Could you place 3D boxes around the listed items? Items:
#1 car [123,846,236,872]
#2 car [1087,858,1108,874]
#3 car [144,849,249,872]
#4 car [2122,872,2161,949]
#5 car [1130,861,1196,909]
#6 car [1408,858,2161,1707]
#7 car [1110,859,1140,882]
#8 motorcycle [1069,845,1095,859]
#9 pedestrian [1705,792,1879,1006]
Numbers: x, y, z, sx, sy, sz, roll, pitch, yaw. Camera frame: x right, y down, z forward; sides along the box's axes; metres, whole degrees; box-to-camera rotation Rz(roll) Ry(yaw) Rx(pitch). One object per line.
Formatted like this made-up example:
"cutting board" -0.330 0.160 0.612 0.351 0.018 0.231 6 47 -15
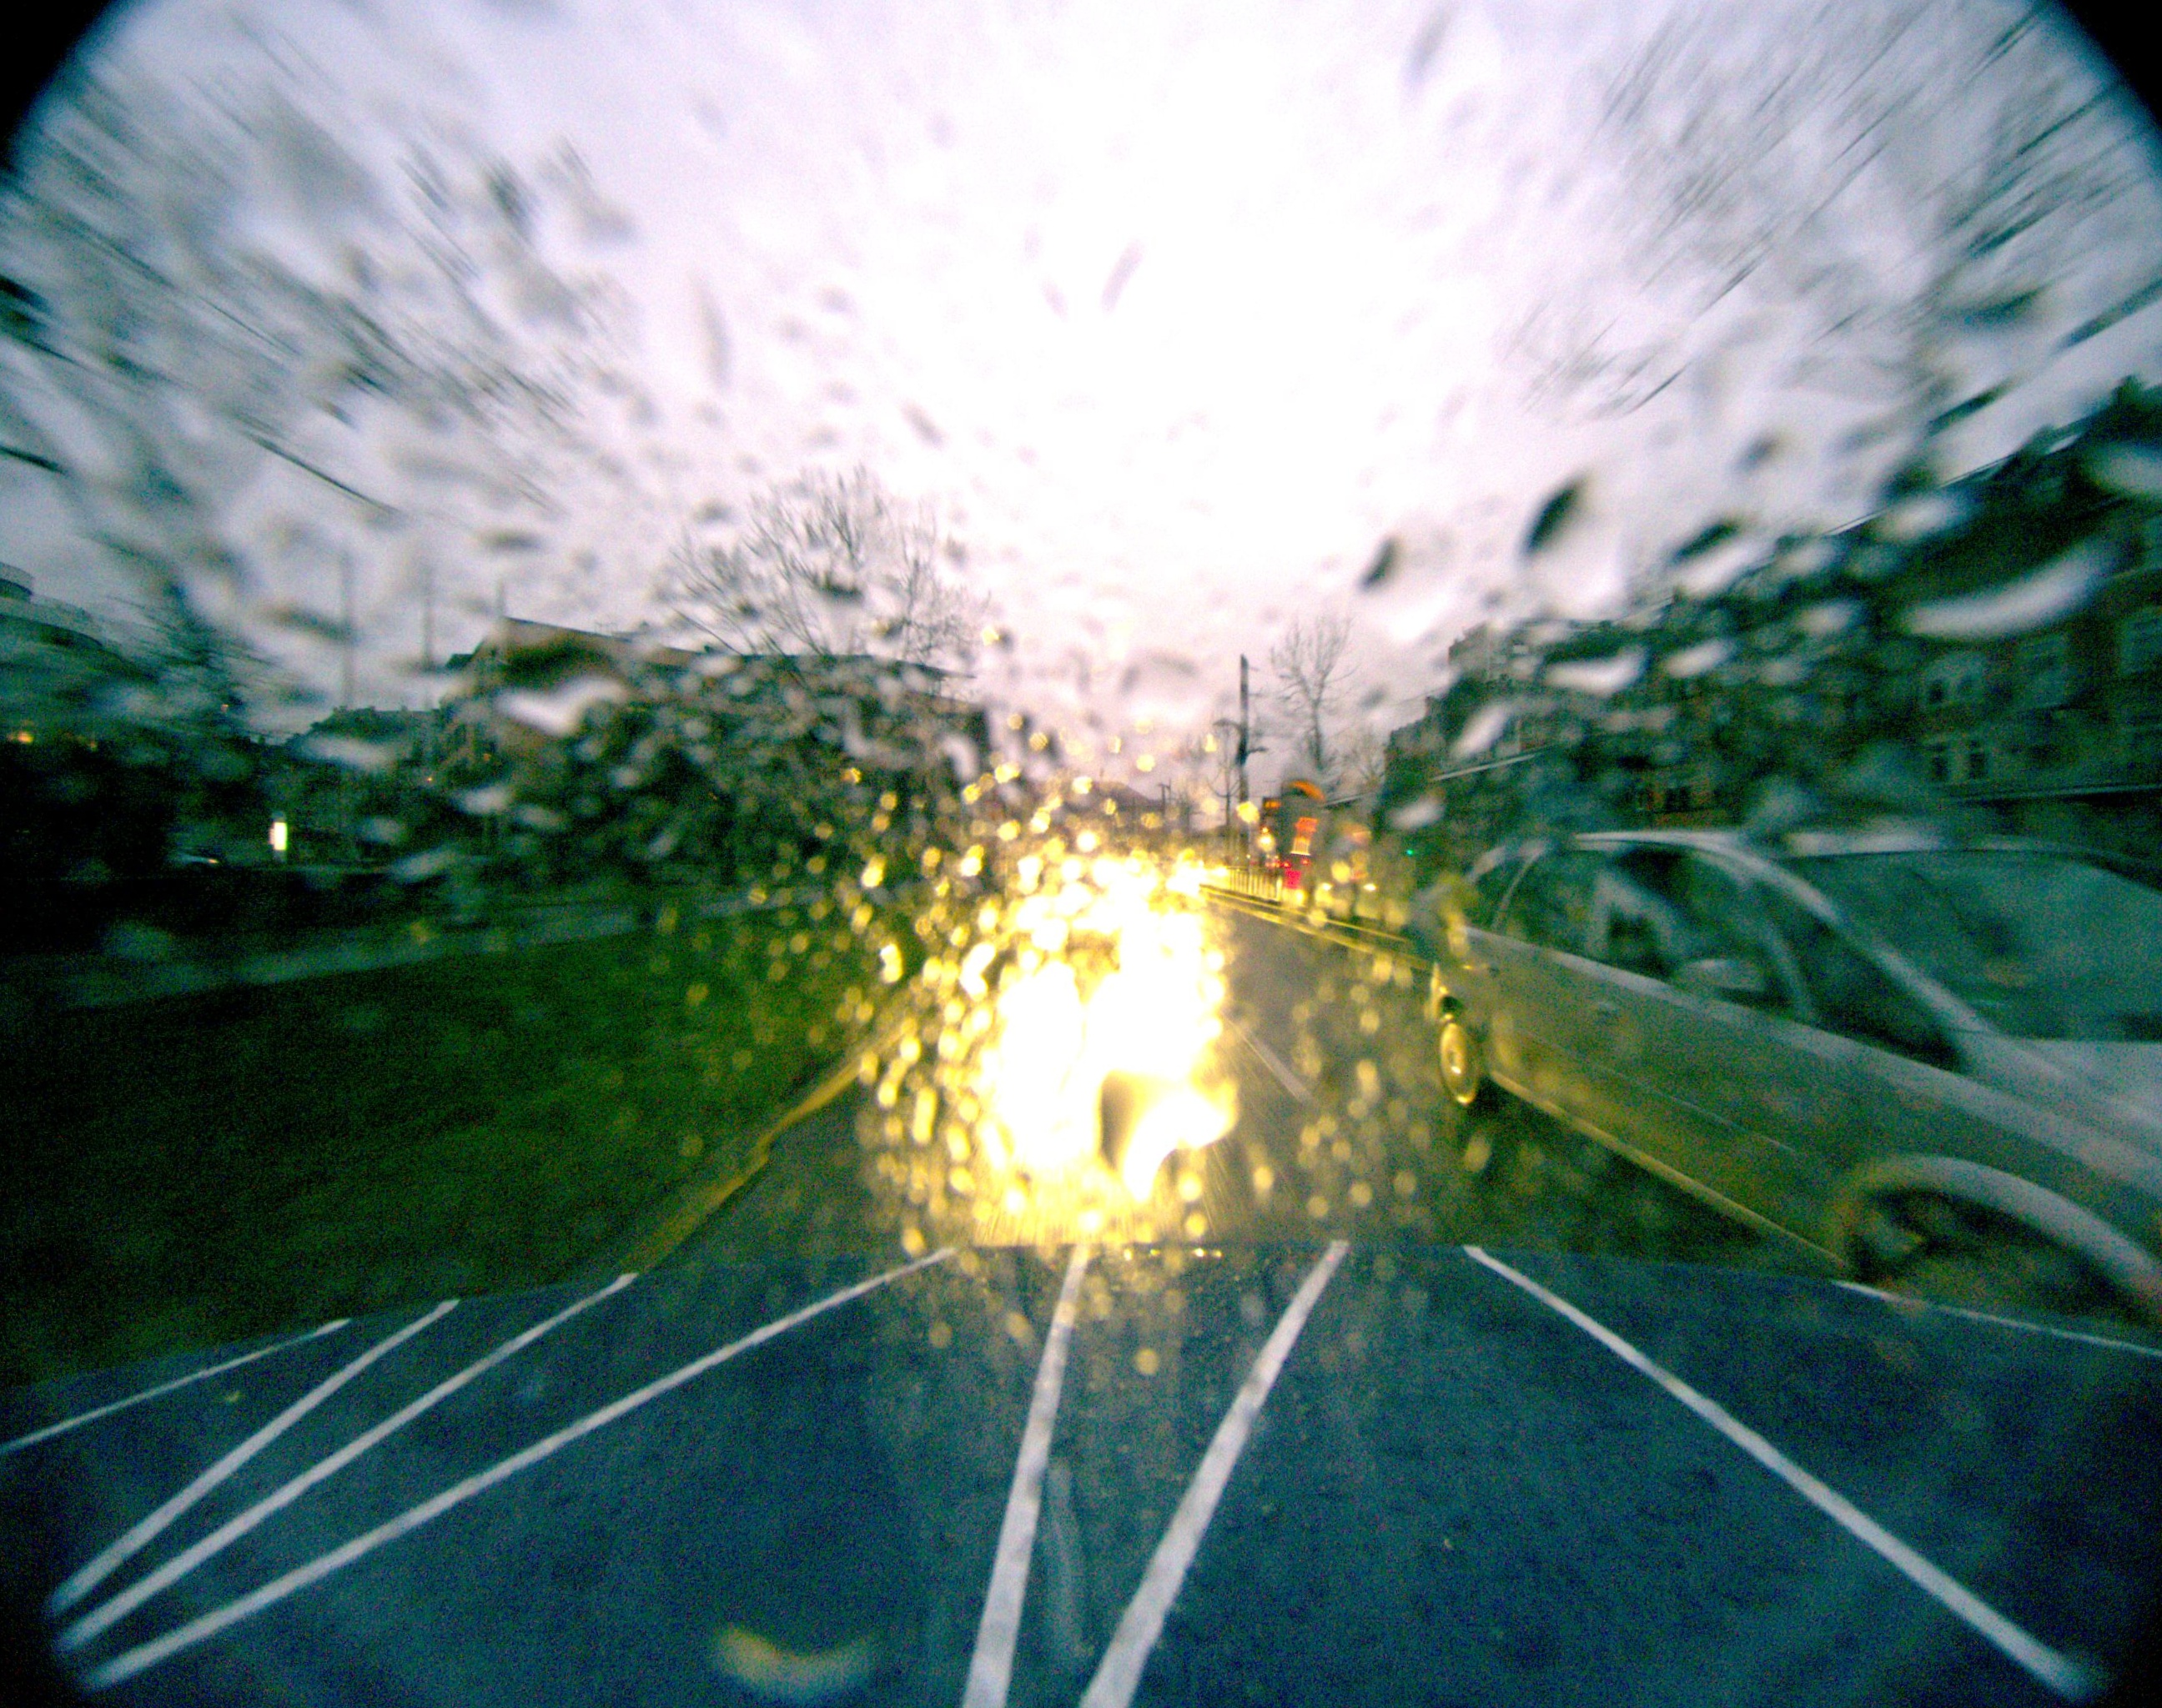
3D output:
"car" -53.688 0.294 45.327 1.794 1.446 4.268 2 0 39
"car" 1.494 1.086 69.348 1.813 1.384 4.054 -1 0 1
"car" -56.110 0.416 48.269 1.794 1.342 4.268 2 0 39
"car" 22.568 1.169 13.942 1.683 1.525 3.749 2 0 -3
"car" 2.633 0.970 25.149 1.813 1.384 4.054 -1 0 1
"car" 2.980 0.837 2.843 1.813 1.590 4.053 -1 0 1
"car" 2.862 1.062 50.230 1.813 1.384 4.054 -1 0 1
"motorcycle" 0.202 -0.347 118.822 3.997 2.002 0.926 -2 1 1
"pedestrian" 7.139 0.420 7.693 0.876 2.002 0.931 2 1 12
